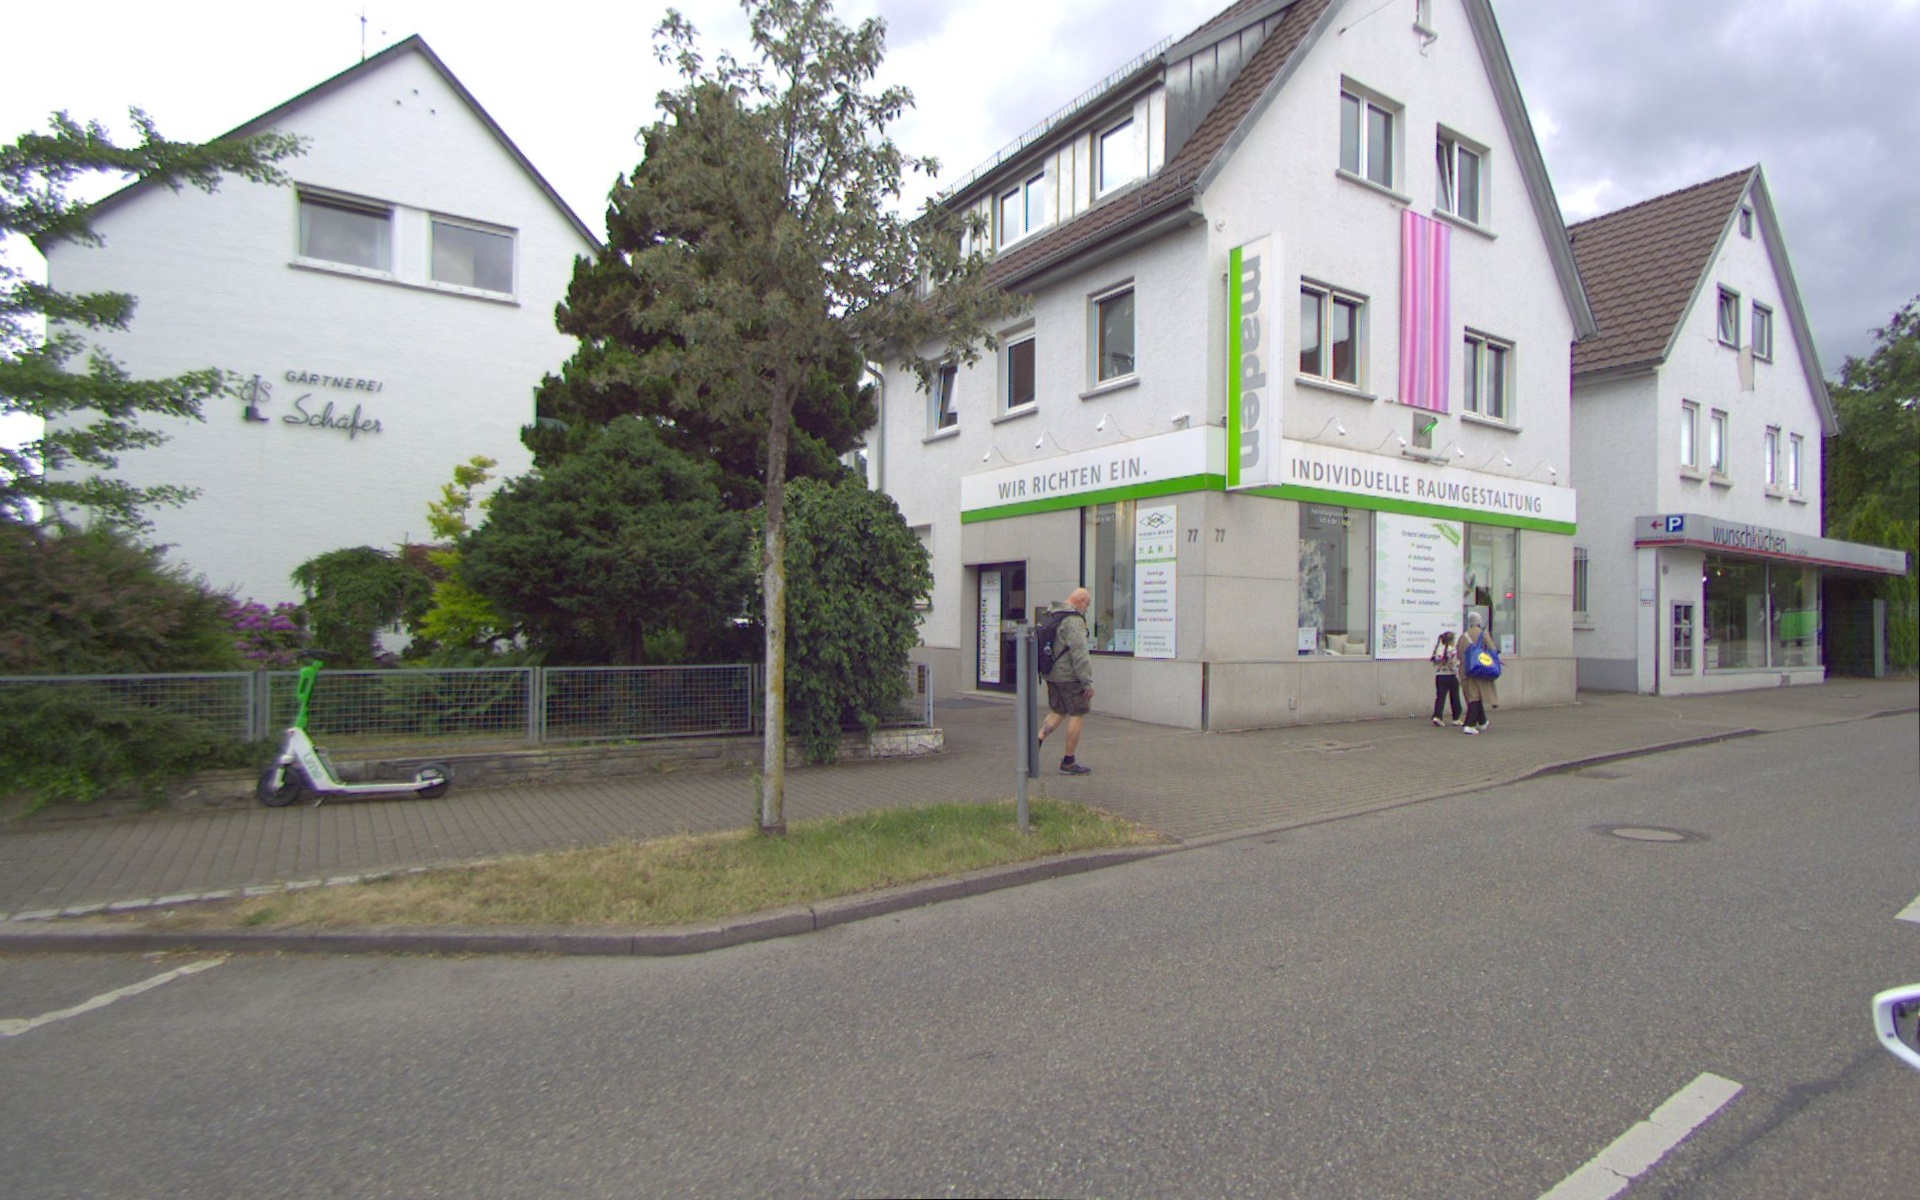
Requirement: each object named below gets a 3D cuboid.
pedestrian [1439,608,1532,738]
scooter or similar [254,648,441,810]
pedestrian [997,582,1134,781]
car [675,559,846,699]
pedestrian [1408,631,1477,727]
[{"bbox_3d":[7.029,0.955,13.454,0.784,1.638,0.747,1,2,-32],"label":"pedestrian"},{"bbox_3d":[-4.600,0.937,7.595,1.167,1.126,0.337,1,0,-32],"label":"scooter or similar"},{"bbox_3d":[1.003,0.735,9.570,1.008,1.767,0.747,1,1,-32],"label":"pedestrian"},{"bbox_3d":[-4.275,0.624,20.719,1.976,2.496,5.278,1,-2,-29],"label":"car"},{"bbox_3d":[6.801,1.095,14.167,0.648,1.297,0.596,1,1,-32],"label":"pedestrian"}]
